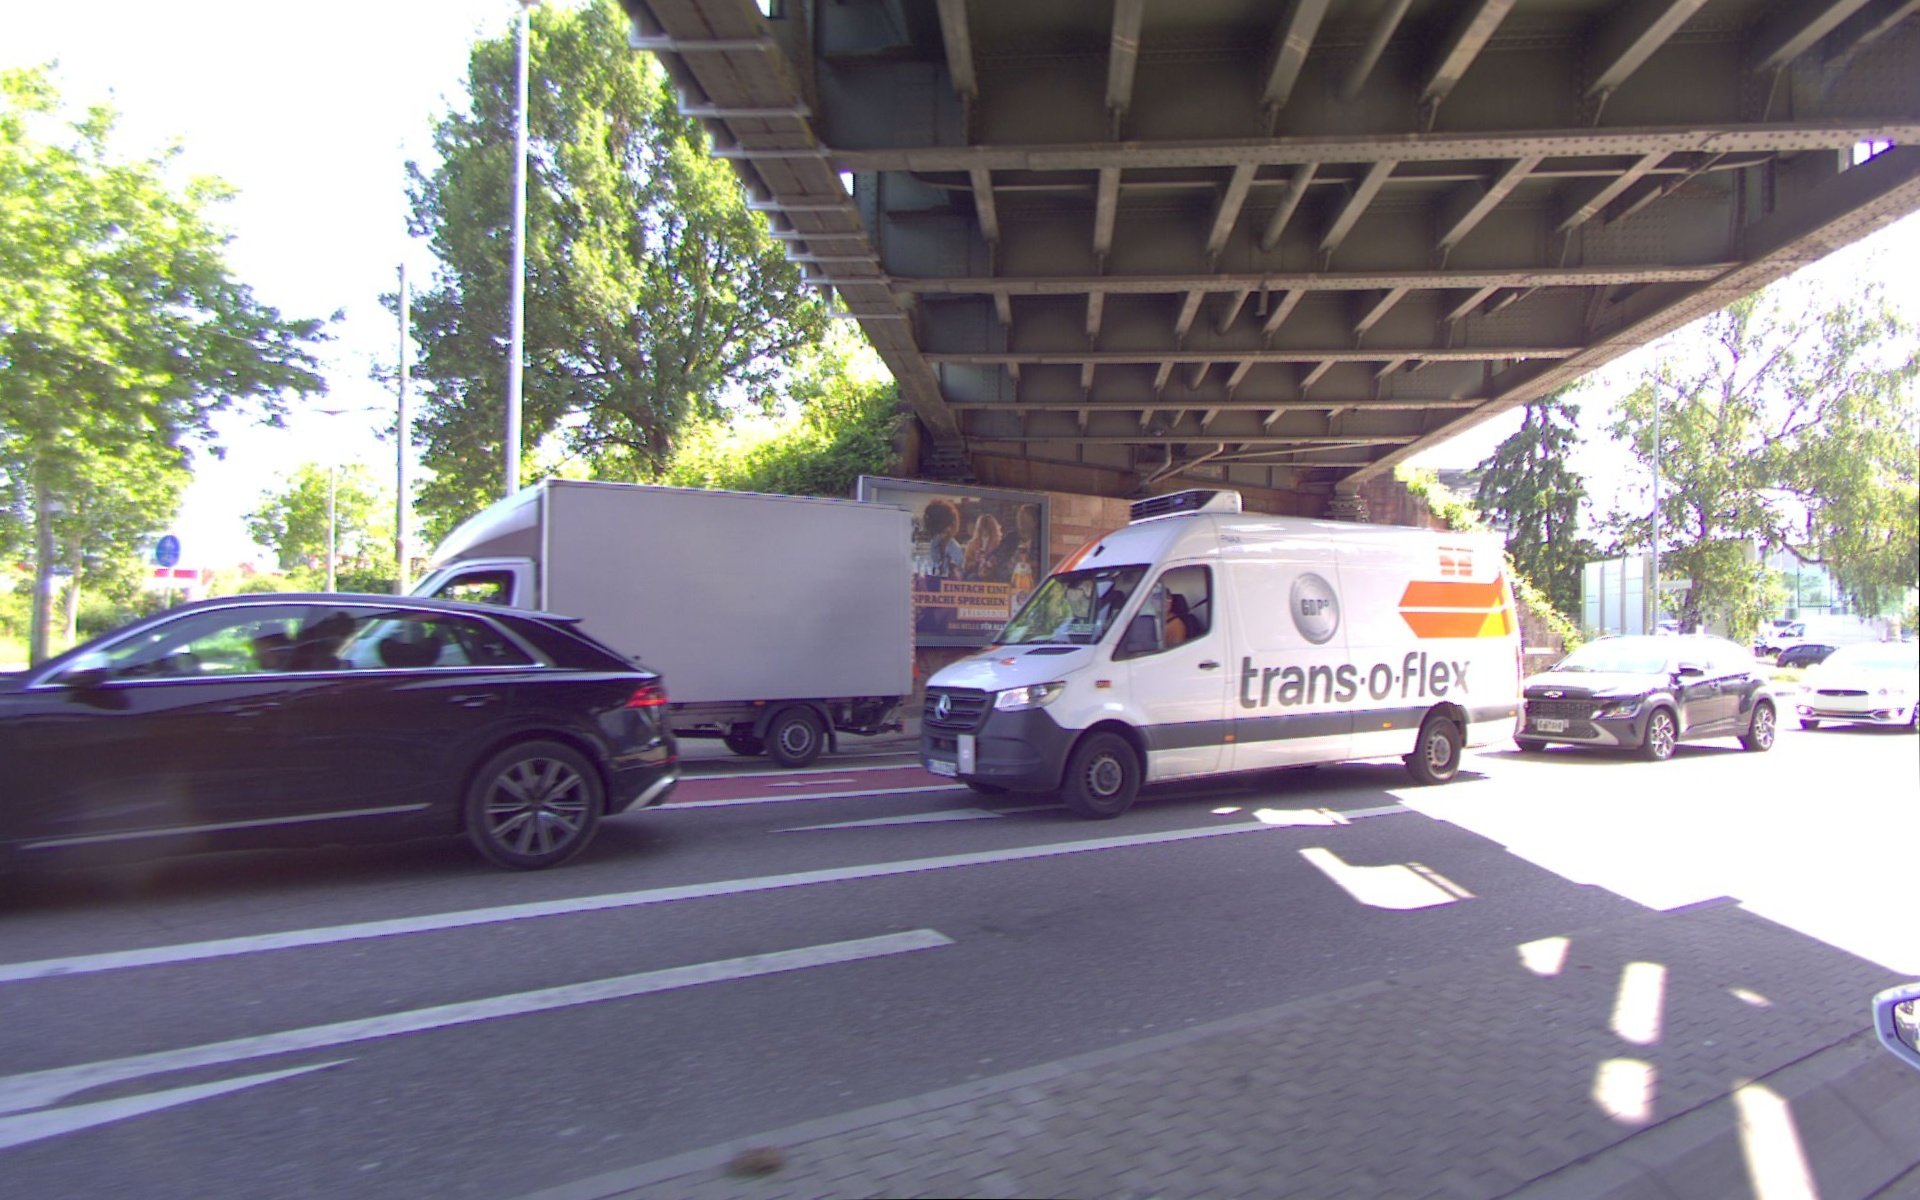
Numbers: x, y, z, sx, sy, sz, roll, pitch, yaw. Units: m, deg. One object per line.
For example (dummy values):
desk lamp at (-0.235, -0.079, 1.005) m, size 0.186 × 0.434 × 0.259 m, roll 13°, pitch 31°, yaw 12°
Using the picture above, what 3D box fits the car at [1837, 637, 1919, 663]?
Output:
car at (52.885, 2.838, 57.236) m, size 1.719 × 1.372 × 4.078 m, roll 2°, pitch -2°, yaw -23°

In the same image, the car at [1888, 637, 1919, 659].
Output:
car at (61.626, 3.051, 63.261) m, size 1.928 × 1.346 × 4.251 m, roll 2°, pitch -2°, yaw -26°

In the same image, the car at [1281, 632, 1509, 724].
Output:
car at (8.177, 1.386, 18.815) m, size 4.126 × 1.514 × 1.761 m, roll 0°, pitch -2°, yaw -29°

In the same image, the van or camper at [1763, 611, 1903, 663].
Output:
van or camper at (47.083, 1.917, 54.338) m, size 1.977 × 2.504 × 5.351 m, roll 0°, pitch 1°, yaw -31°

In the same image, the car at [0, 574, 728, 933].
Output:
car at (-4.110, 0.775, 6.163) m, size 4.889 × 1.703 × 1.985 m, roll 2°, pitch -2°, yaw -29°

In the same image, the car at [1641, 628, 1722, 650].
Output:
car at (47.782, 2.587, 66.602) m, size 1.719 × 1.372 × 4.078 m, roll 2°, pitch -2°, yaw -23°

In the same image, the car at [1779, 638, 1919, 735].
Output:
car at (16.343, 1.445, 17.758) m, size 3.784 × 1.514 × 1.635 m, roll 0°, pitch -2°, yaw -30°

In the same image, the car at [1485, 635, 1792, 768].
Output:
car at (9.208, 1.260, 13.584) m, size 4.126 × 1.514 × 1.761 m, roll 0°, pitch -2°, yaw -29°

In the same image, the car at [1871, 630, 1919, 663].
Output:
car at (57.380, 2.776, 59.816) m, size 1.928 × 1.909 × 4.251 m, roll 2°, pitch -2°, yaw -26°

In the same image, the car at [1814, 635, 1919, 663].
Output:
car at (50.739, 2.711, 56.300) m, size 1.719 × 1.457 × 4.078 m, roll 1°, pitch -2°, yaw -23°

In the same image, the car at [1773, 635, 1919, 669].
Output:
car at (40.612, 2.370, 46.196) m, size 1.970 × 1.432 × 4.660 m, roll 2°, pitch -2°, yaw -20°

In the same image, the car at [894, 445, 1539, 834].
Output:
car at (2.829, 0.422, 9.991) m, size 6.859 × 2.841 × 1.984 m, roll 2°, pitch -4°, yaw -31°

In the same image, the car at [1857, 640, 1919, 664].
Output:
car at (55.232, 3.033, 58.530) m, size 1.721 × 1.310 × 4.073 m, roll 2°, pitch -2°, yaw -26°

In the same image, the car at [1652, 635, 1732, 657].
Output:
car at (49.803, 3.118, 68.415) m, size 1.722 × 1.457 × 4.071 m, roll 2°, pitch -2°, yaw -28°

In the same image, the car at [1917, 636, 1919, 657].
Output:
car at (64.359, 3.024, 64.192) m, size 1.928 × 1.399 × 4.251 m, roll 2°, pitch -2°, yaw -26°

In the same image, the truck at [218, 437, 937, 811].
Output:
truck at (-3.848, 0.306, 11.296) m, size 6.993 × 3.129 × 2.328 m, roll 2°, pitch -1°, yaw -33°
